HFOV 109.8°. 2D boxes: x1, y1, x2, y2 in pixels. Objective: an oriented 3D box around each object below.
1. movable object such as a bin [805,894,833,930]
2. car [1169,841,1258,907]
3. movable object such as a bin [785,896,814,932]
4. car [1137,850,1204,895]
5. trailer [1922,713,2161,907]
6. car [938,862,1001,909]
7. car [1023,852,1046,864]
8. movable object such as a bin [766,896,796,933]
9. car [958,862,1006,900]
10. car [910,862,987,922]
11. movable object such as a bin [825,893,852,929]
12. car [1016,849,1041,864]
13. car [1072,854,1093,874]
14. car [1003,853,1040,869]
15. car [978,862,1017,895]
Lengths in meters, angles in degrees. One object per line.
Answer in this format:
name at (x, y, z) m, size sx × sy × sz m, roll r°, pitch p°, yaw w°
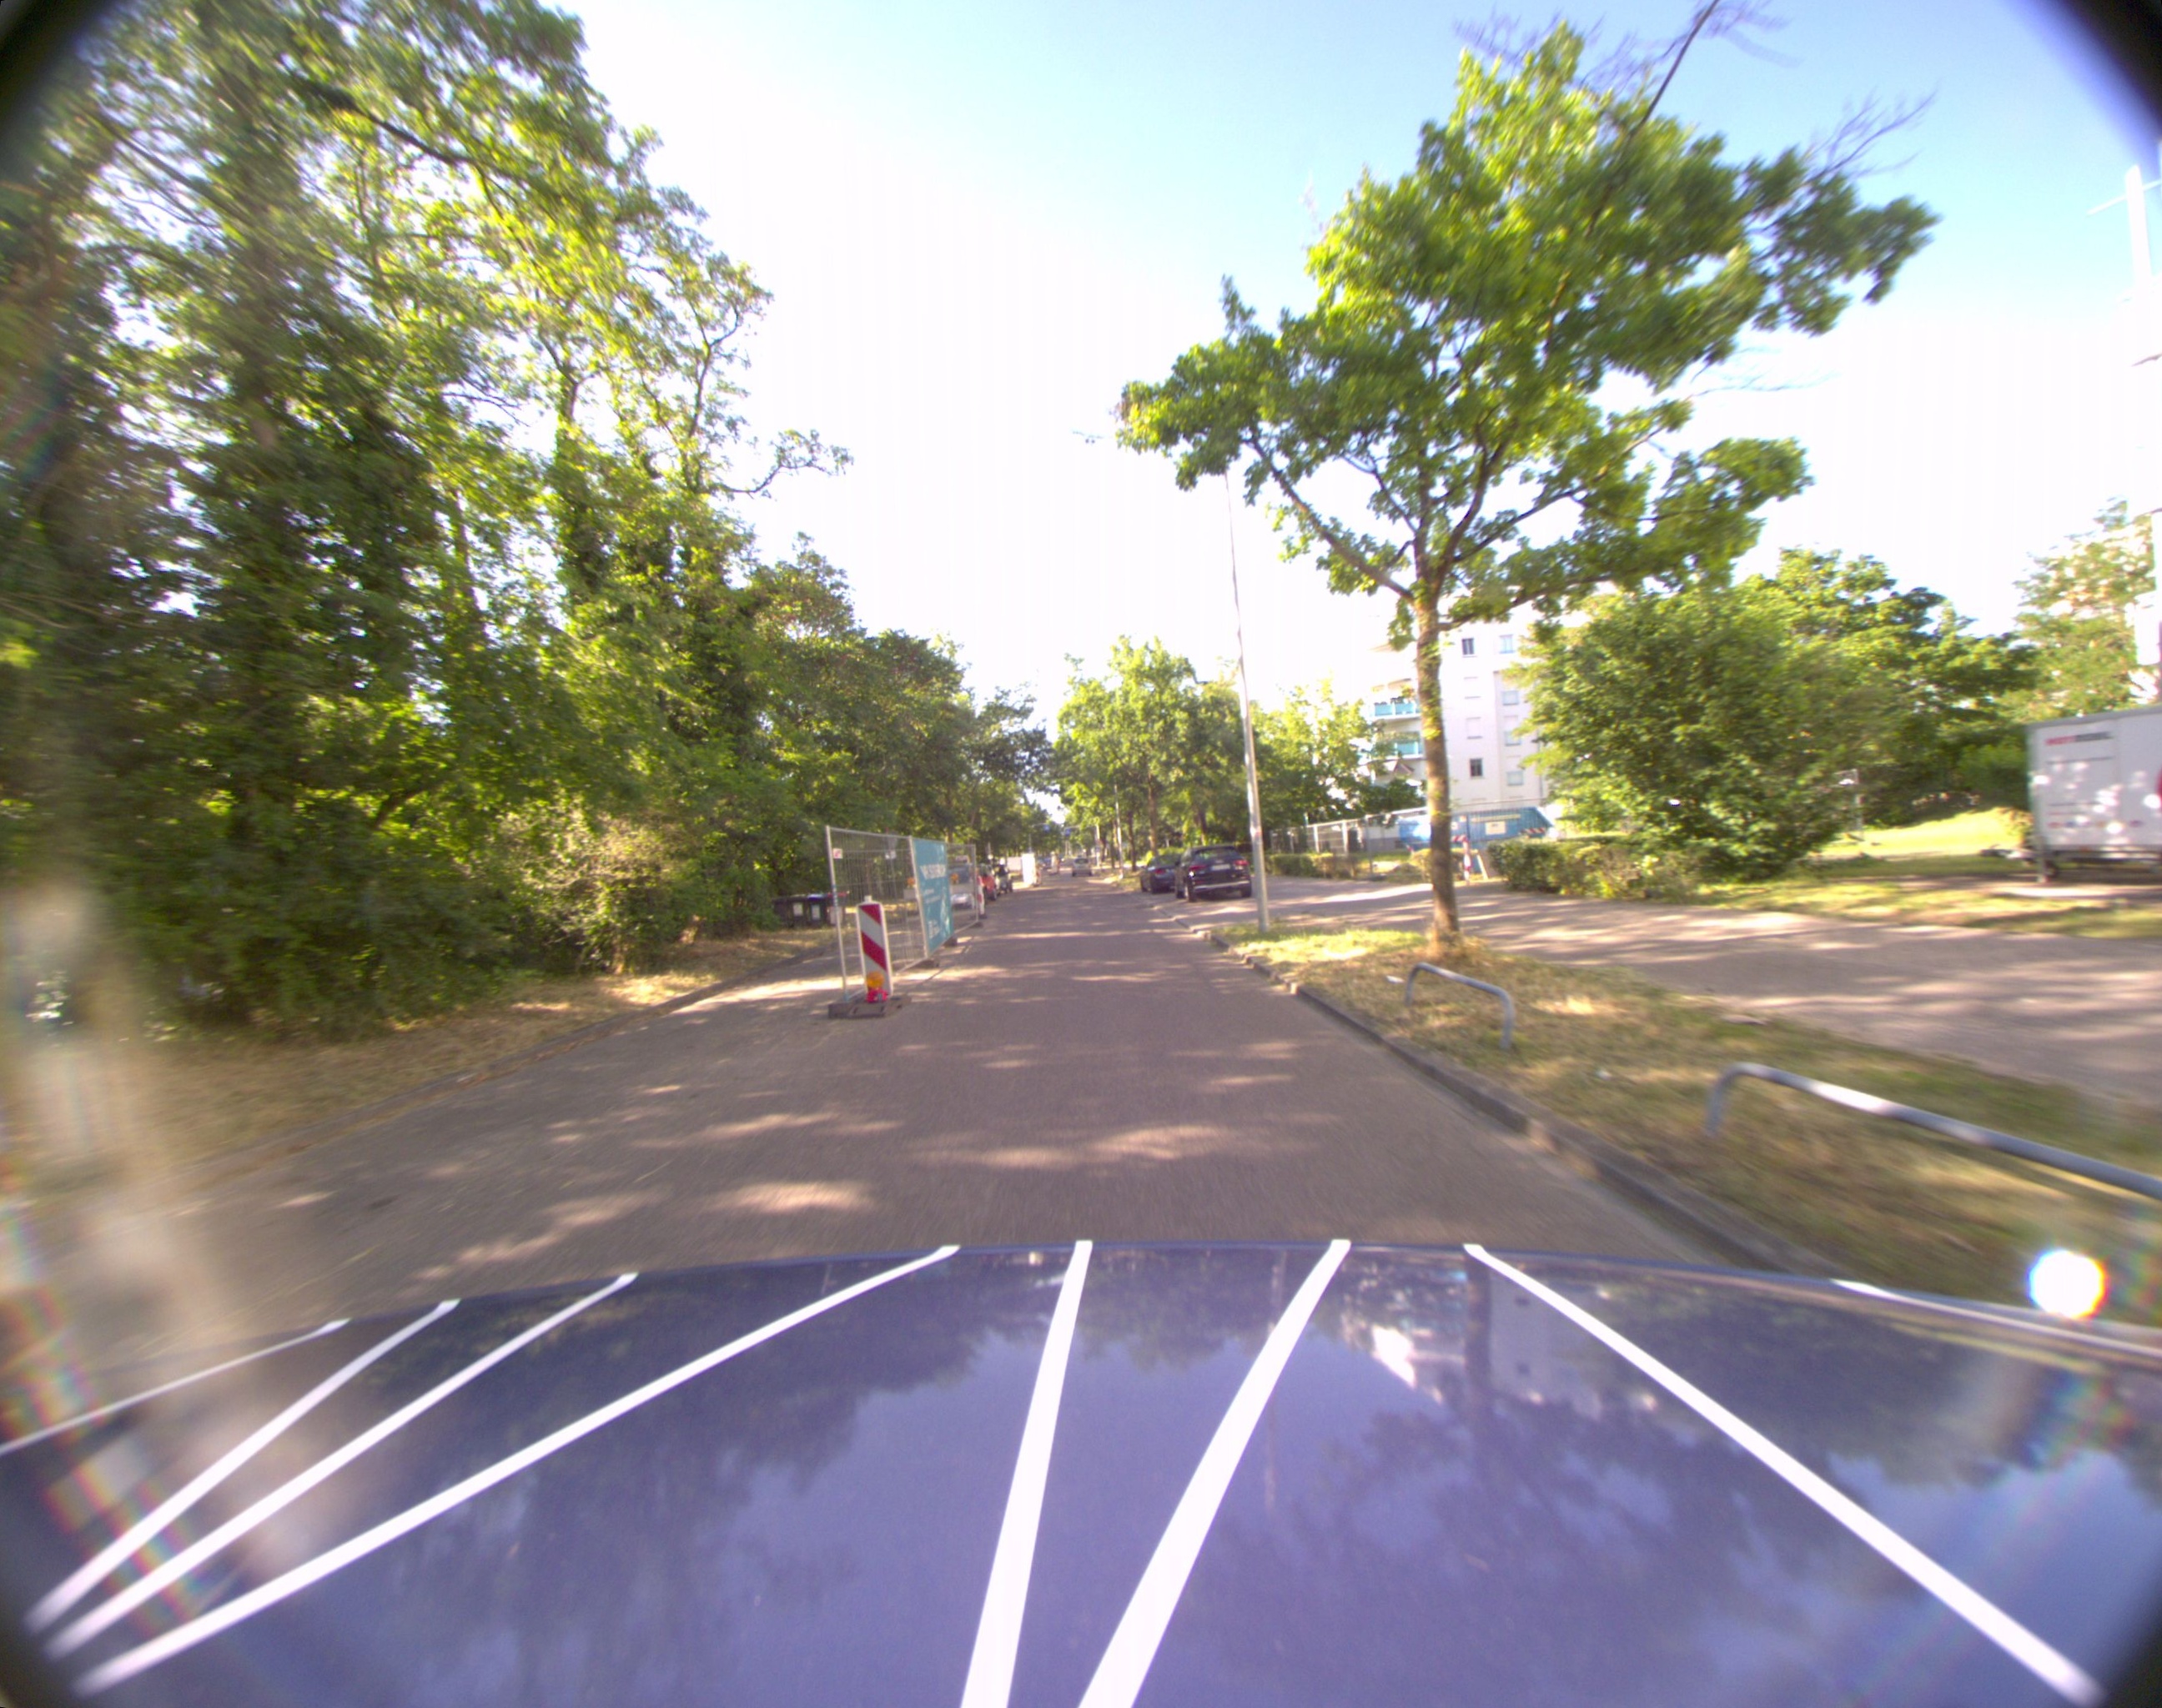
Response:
movable object such as a bin at (-6.729, 1.484, 19.533) m, size 0.485 × 0.856 × 0.559 m, roll -4°, pitch 1°, yaw -2°
car at (3.813, 0.544, 22.619) m, size 1.780 × 1.612 × 4.220 m, roll -6°, pitch 0°, yaw 0°
movable object such as a bin at (-7.223, 1.532, 19.514) m, size 0.485 × 0.856 × 0.559 m, roll -4°, pitch 1°, yaw -2°
car at (3.331, 0.684, 29.106) m, size 1.721 × 1.424 × 4.136 m, roll -6°, pitch 0°, yaw -3°
trailer at (12.673, -0.566, 8.433) m, size 1.868 × 2.108 × 4.347 m, roll -6°, pitch 0°, yaw 4°
car at (-4.324, 1.187, 30.102) m, size 1.683 × 1.565 × 4.066 m, roll -5°, pitch 0°, yaw 1°
car at (-8.931, 0.716, 145.366) m, size 4.245 × 1.993 × 1.565 m, roll -3°, pitch 0°, yaw -4°
movable object such as a bin at (-7.719, 1.553, 19.557) m, size 0.485 × 0.856 × 0.559 m, roll -4°, pitch 1°, yaw -2°
car at (-4.500, 1.191, 35.021) m, size 1.716 × 1.500 × 4.148 m, roll -5°, pitch 0°, yaw -3°
car at (-4.224, 1.164, 24.829) m, size 1.683 × 1.612 × 4.137 m, roll -5°, pitch 0°, yaw -1°
movable object such as a bin at (-6.238, 1.467, 19.558) m, size 0.485 × 0.856 × 0.559 m, roll -4°, pitch 1°, yaw -2°
car at (-9.630, 0.396, 140.100) m, size 4.412 × 2.531 × 1.888 m, roll -3°, pitch 0°, yaw -4°
car at (0.096, 0.806, 65.425) m, size 1.664 × 1.587 × 4.007 m, roll -2°, pitch 0°, yaw -2°
car at (-8.766, 1.013, 112.682) m, size 5.269 × 1.993 × 2.000 m, roll -3°, pitch 0°, yaw -2°
car at (-4.311, 1.242, 39.434) m, size 1.497 × 1.500 × 2.677 m, roll -5°, pitch 0°, yaw 3°
